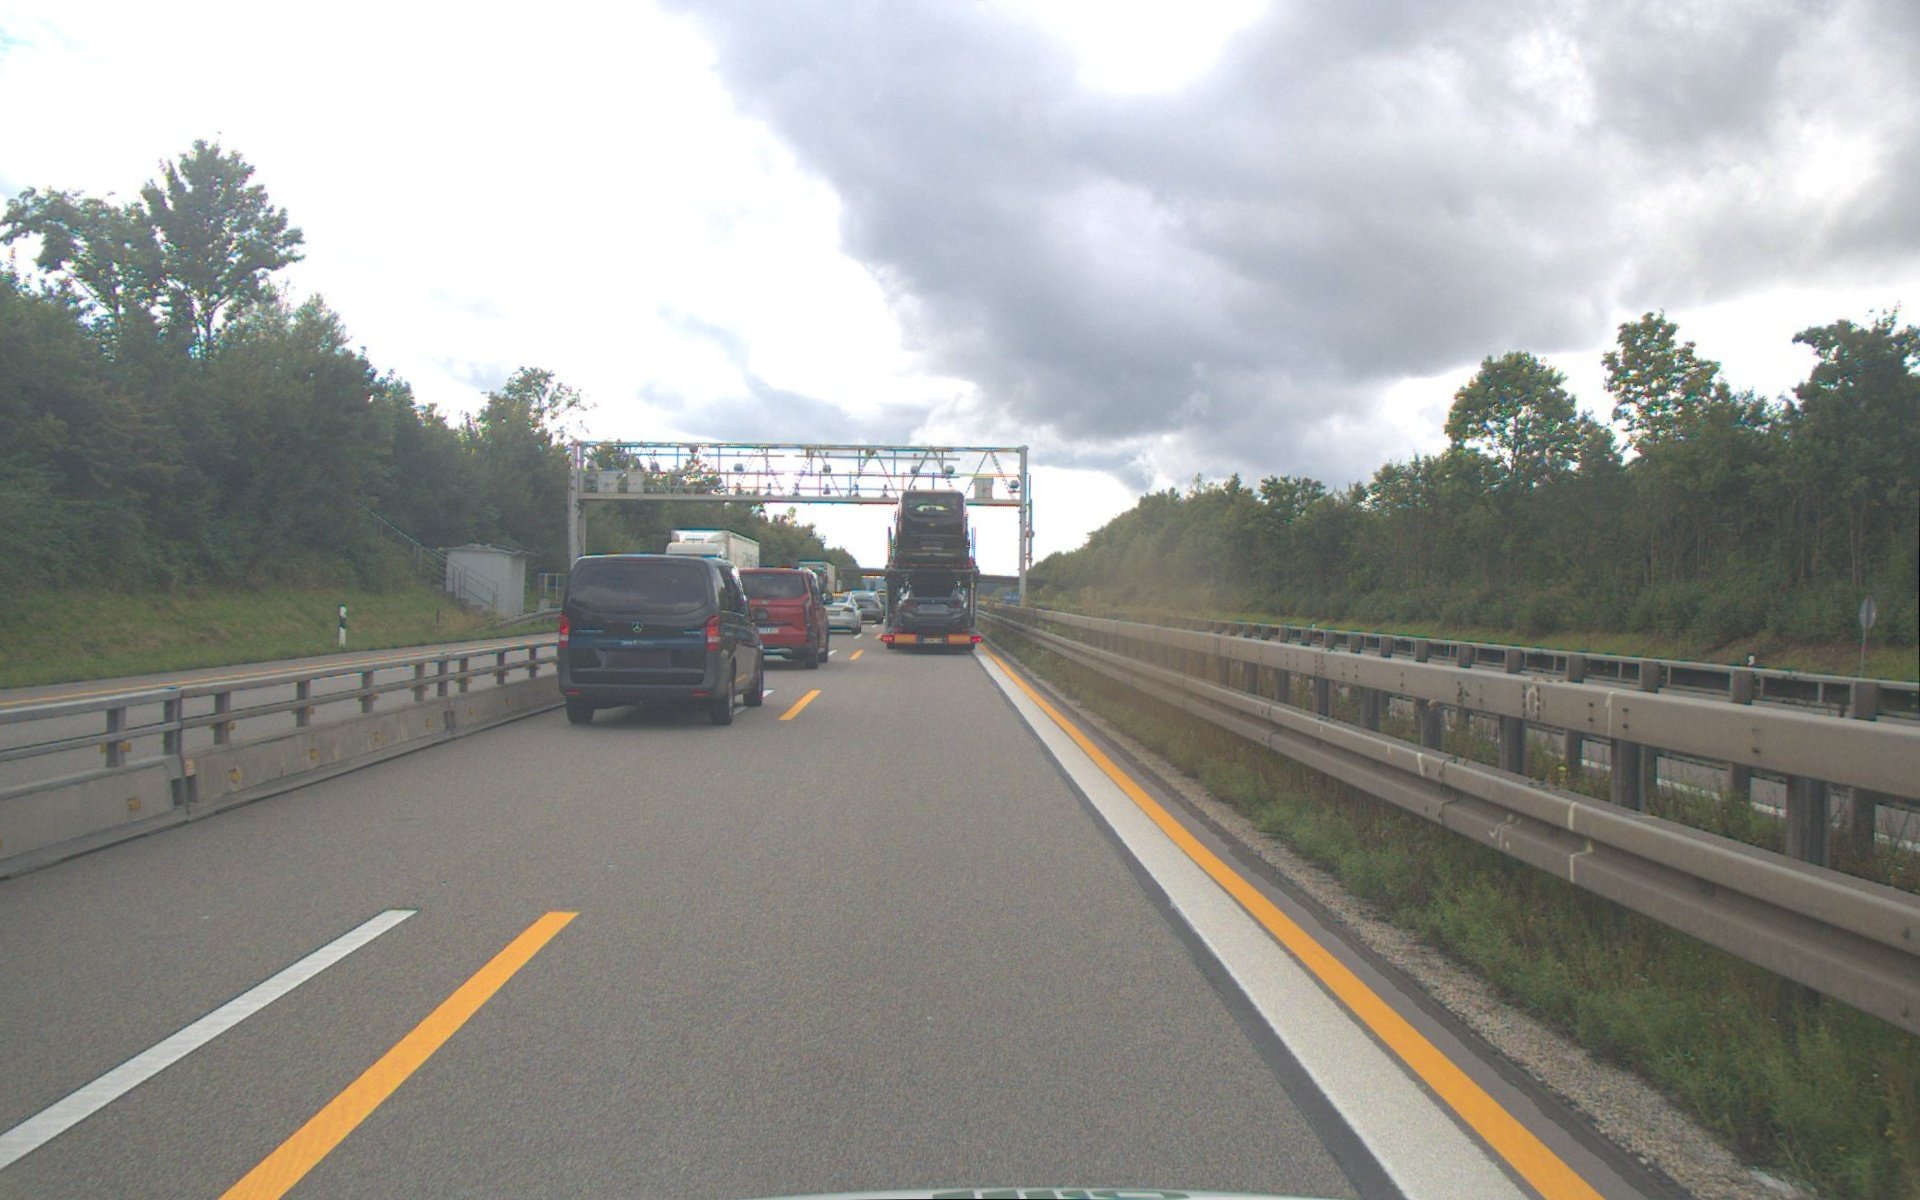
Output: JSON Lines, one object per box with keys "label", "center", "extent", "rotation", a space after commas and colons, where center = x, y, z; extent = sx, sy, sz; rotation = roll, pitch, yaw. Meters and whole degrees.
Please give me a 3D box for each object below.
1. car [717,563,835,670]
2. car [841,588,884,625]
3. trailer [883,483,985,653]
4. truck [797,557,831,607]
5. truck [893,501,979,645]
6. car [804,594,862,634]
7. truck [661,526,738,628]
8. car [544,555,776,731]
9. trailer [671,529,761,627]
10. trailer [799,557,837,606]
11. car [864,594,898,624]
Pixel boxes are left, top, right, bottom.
{"label": "car", "center": [-3.699, 0.319, 34.017], "extent": [1.990, 2.049, 4.576], "rotation": [0, 0, -1]}
{"label": "car", "center": [-4.819, 0.306, 82.093], "extent": [1.990, 1.788, 4.576], "rotation": [0, 0, -2]}
{"label": "trailer", "center": [-0.701, -0.791, 46.454], "extent": [2.464, 4.177, 11.111], "rotation": [1, 0, -1]}
{"label": "truck", "center": [-12.745, -1.604, 144.364], "extent": [2.546, 4.227, 5.618], "rotation": [1, 0, -1]}
{"label": "truck", "center": [-0.740, -0.790, 51.207], "extent": [2.464, 4.177, 5.684], "rotation": [1, 0, -1]}
{"label": "car", "center": [-4.728, 0.499, 62.121], "extent": [1.990, 1.456, 4.576], "rotation": [0, 0, -2]}
{"label": "truck", "center": [-11.329, -1.003, 72.424], "extent": [2.546, 4.227, 5.618], "rotation": [1, 0, -1]}
{"label": "car", "center": [-3.507, 0.455, 20.439], "extent": [1.953, 1.875, 5.608], "rotation": [0, 0, -1]}
{"label": "trailer", "center": [-11.519, -1.017, 79.378], "extent": [2.546, 4.227, 13.988], "rotation": [1, 0, -1]}
{"label": "trailer", "center": [-12.917, -1.668, 151.139], "extent": [2.546, 4.227, 13.988], "rotation": [1, 0, -1]}
{"label": "car", "center": [-4.782, 0.552, 100.413], "extent": [1.990, 1.788, 4.576], "rotation": [0, 0, -2]}
